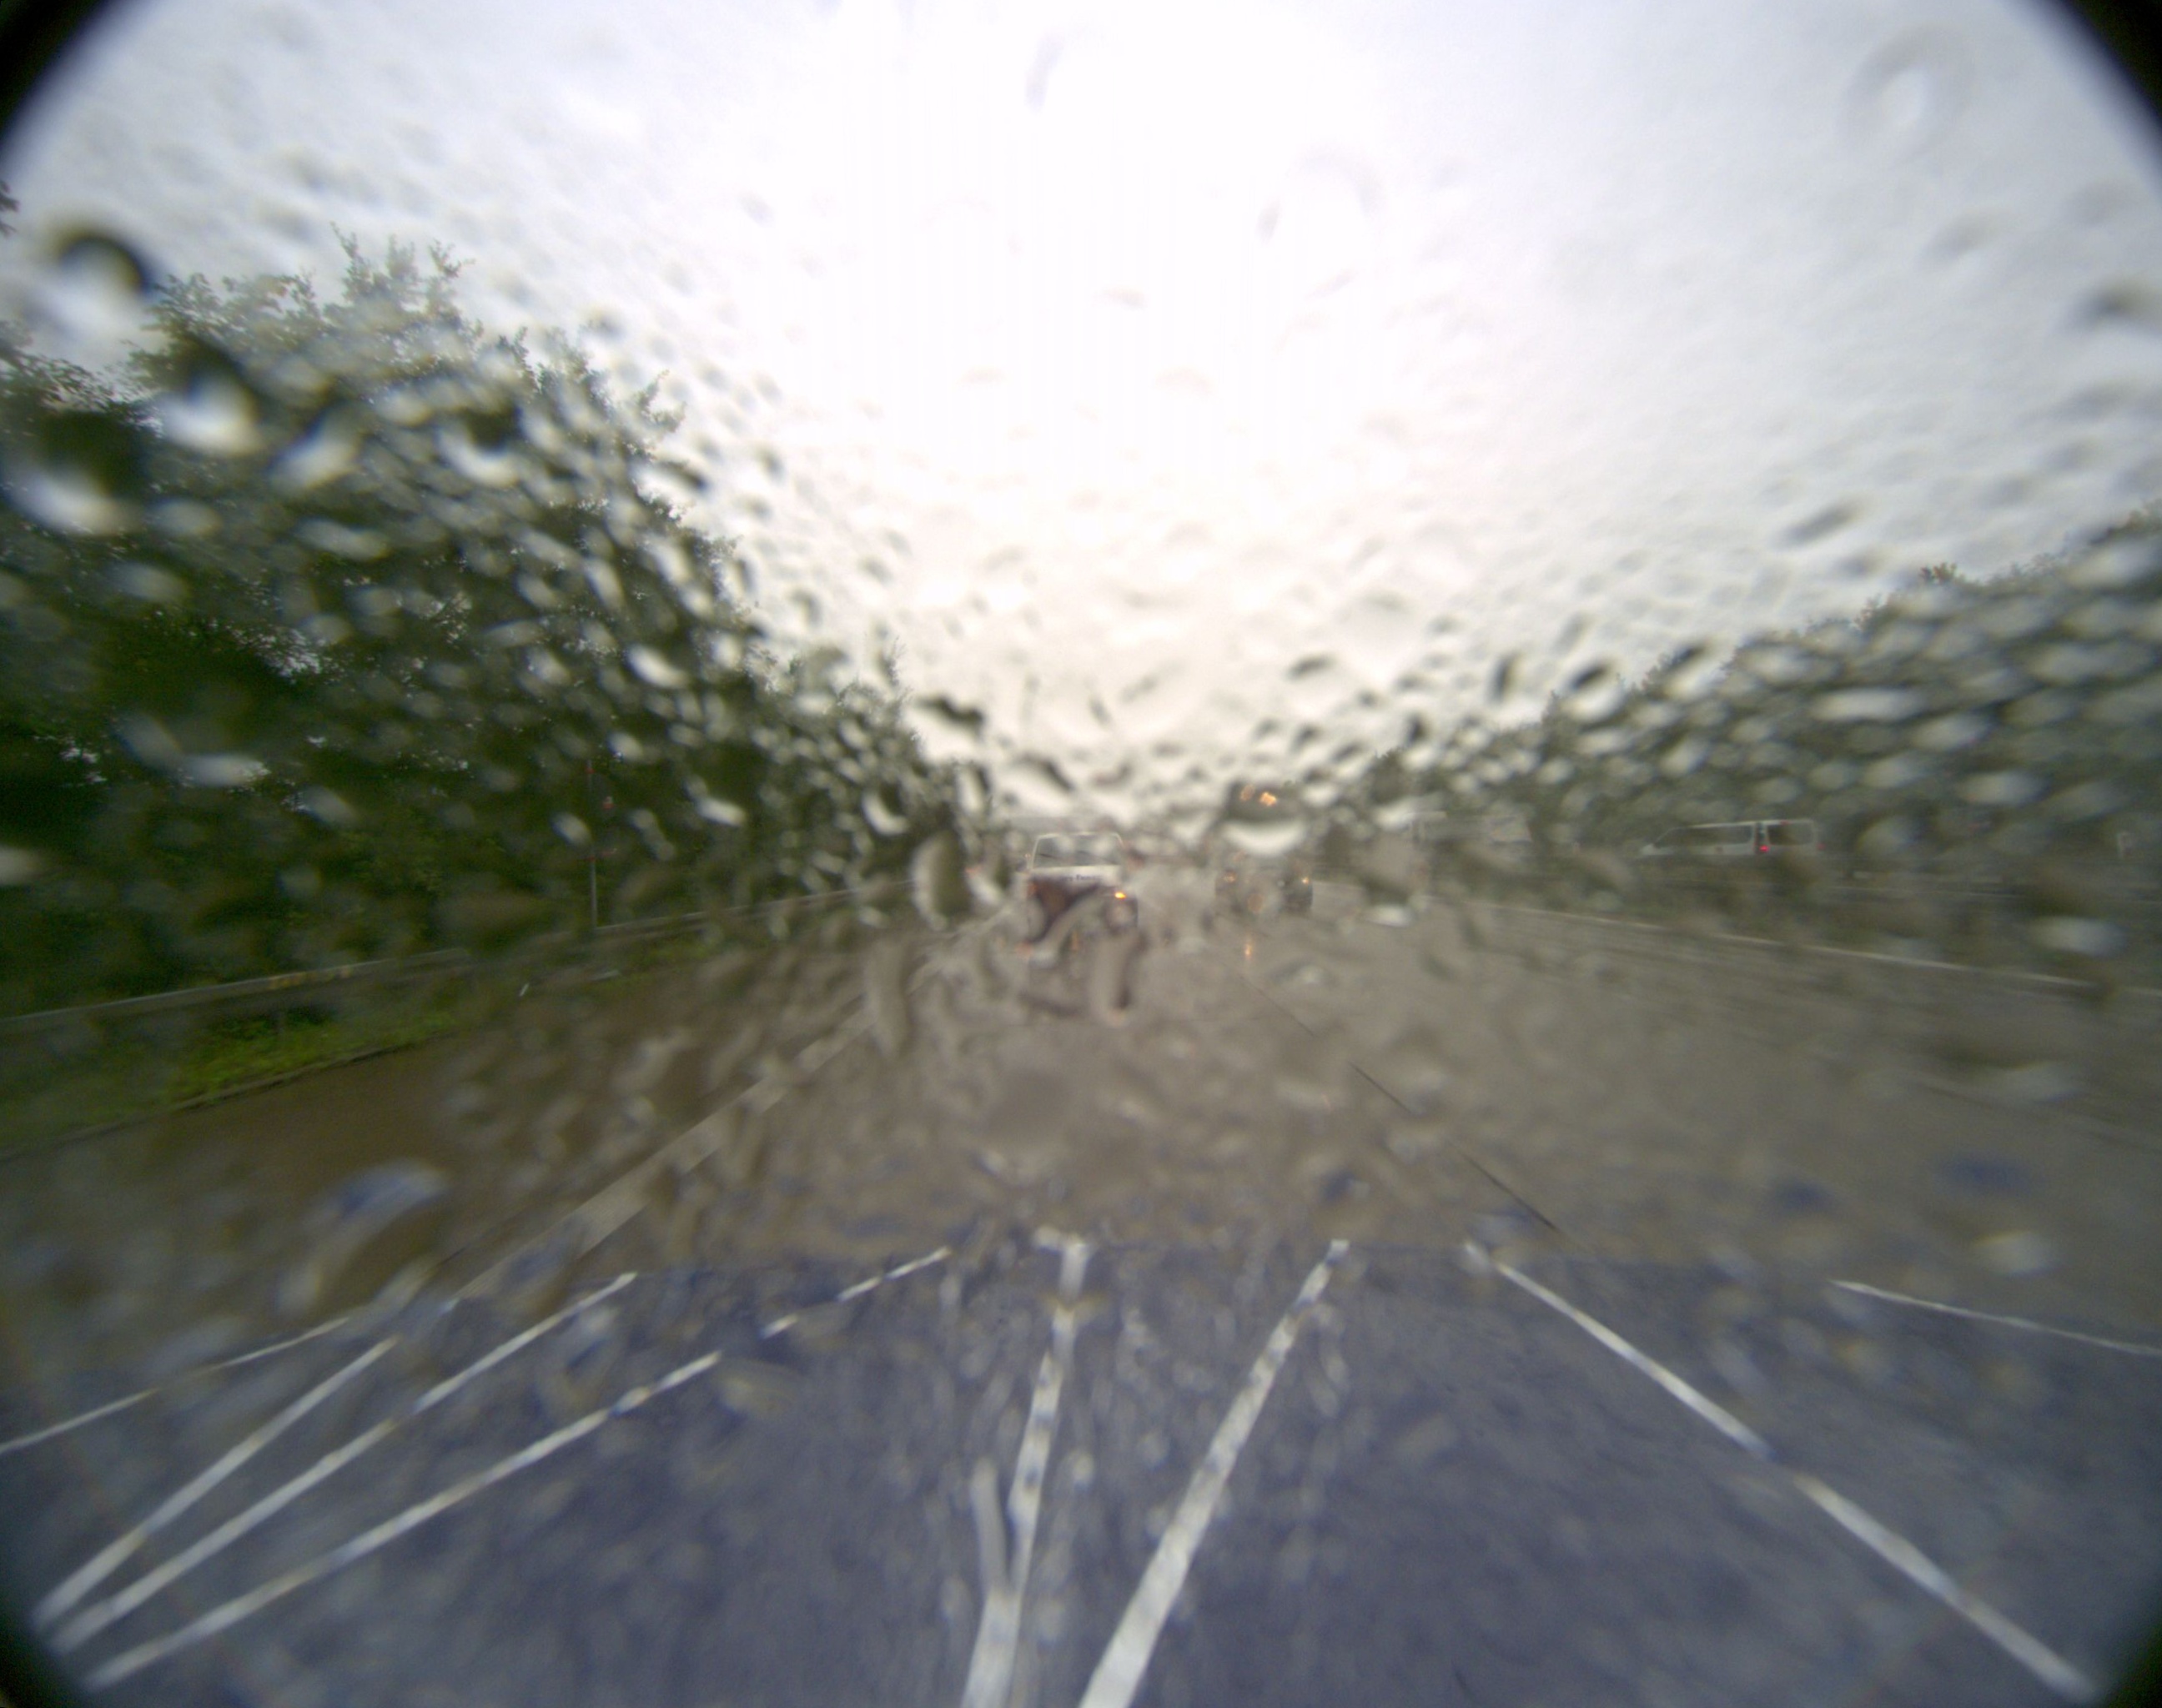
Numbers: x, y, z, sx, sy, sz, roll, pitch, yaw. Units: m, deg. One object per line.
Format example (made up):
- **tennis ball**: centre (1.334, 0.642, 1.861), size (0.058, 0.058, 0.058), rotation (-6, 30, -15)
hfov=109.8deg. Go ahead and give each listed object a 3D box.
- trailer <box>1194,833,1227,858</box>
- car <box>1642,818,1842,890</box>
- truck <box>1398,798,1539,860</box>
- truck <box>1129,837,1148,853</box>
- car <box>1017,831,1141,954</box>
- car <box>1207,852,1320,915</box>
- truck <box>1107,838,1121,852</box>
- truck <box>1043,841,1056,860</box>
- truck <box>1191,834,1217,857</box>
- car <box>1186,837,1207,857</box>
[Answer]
- **trailer**: centre (21.499, -1.350, 127.100), size (3.144, 3.834, 12.868), rotation (-2, 0, -1)
- **car**: centre (21.202, -0.035, 24.770), size (1.982, 2.002, 5.197), rotation (-3, 1, 0)
- **truck**: centre (23.751, -1.398, 47.594), size (2.781, 3.296, 11.514), rotation (-2, 0, 0)
- **truck**: centre (15.411, -2.348, 204.205), size (3.132, 4.220, 16.366), rotation (-2, 0, -2)
- **car**: centre (-0.023, 0.601, 14.566), size (1.904, 1.883, 5.042), rotation (-2, 0, 0)
- **car**: centre (4.527, 0.672, 19.520), size (1.745, 1.380, 4.320), rotation (0, 1, -2)
- **truck**: centre (10.653, -2.935, 244.775), size (3.133, 4.220, 13.536), rotation (-2, 0, -3)
- **truck**: centre (-7.347, -0.854, 176.151), size (3.059, 3.994, 10.041), rotation (1, -2, -3)
- **truck**: centre (21.438, -1.388, 133.006), size (3.144, 3.834, 6.885), rotation (-2, 0, -1)
- **car**: centre (17.955, -1.063, 118.436), size (2.094, 2.883, 6.532), rotation (-2, 0, -1)
